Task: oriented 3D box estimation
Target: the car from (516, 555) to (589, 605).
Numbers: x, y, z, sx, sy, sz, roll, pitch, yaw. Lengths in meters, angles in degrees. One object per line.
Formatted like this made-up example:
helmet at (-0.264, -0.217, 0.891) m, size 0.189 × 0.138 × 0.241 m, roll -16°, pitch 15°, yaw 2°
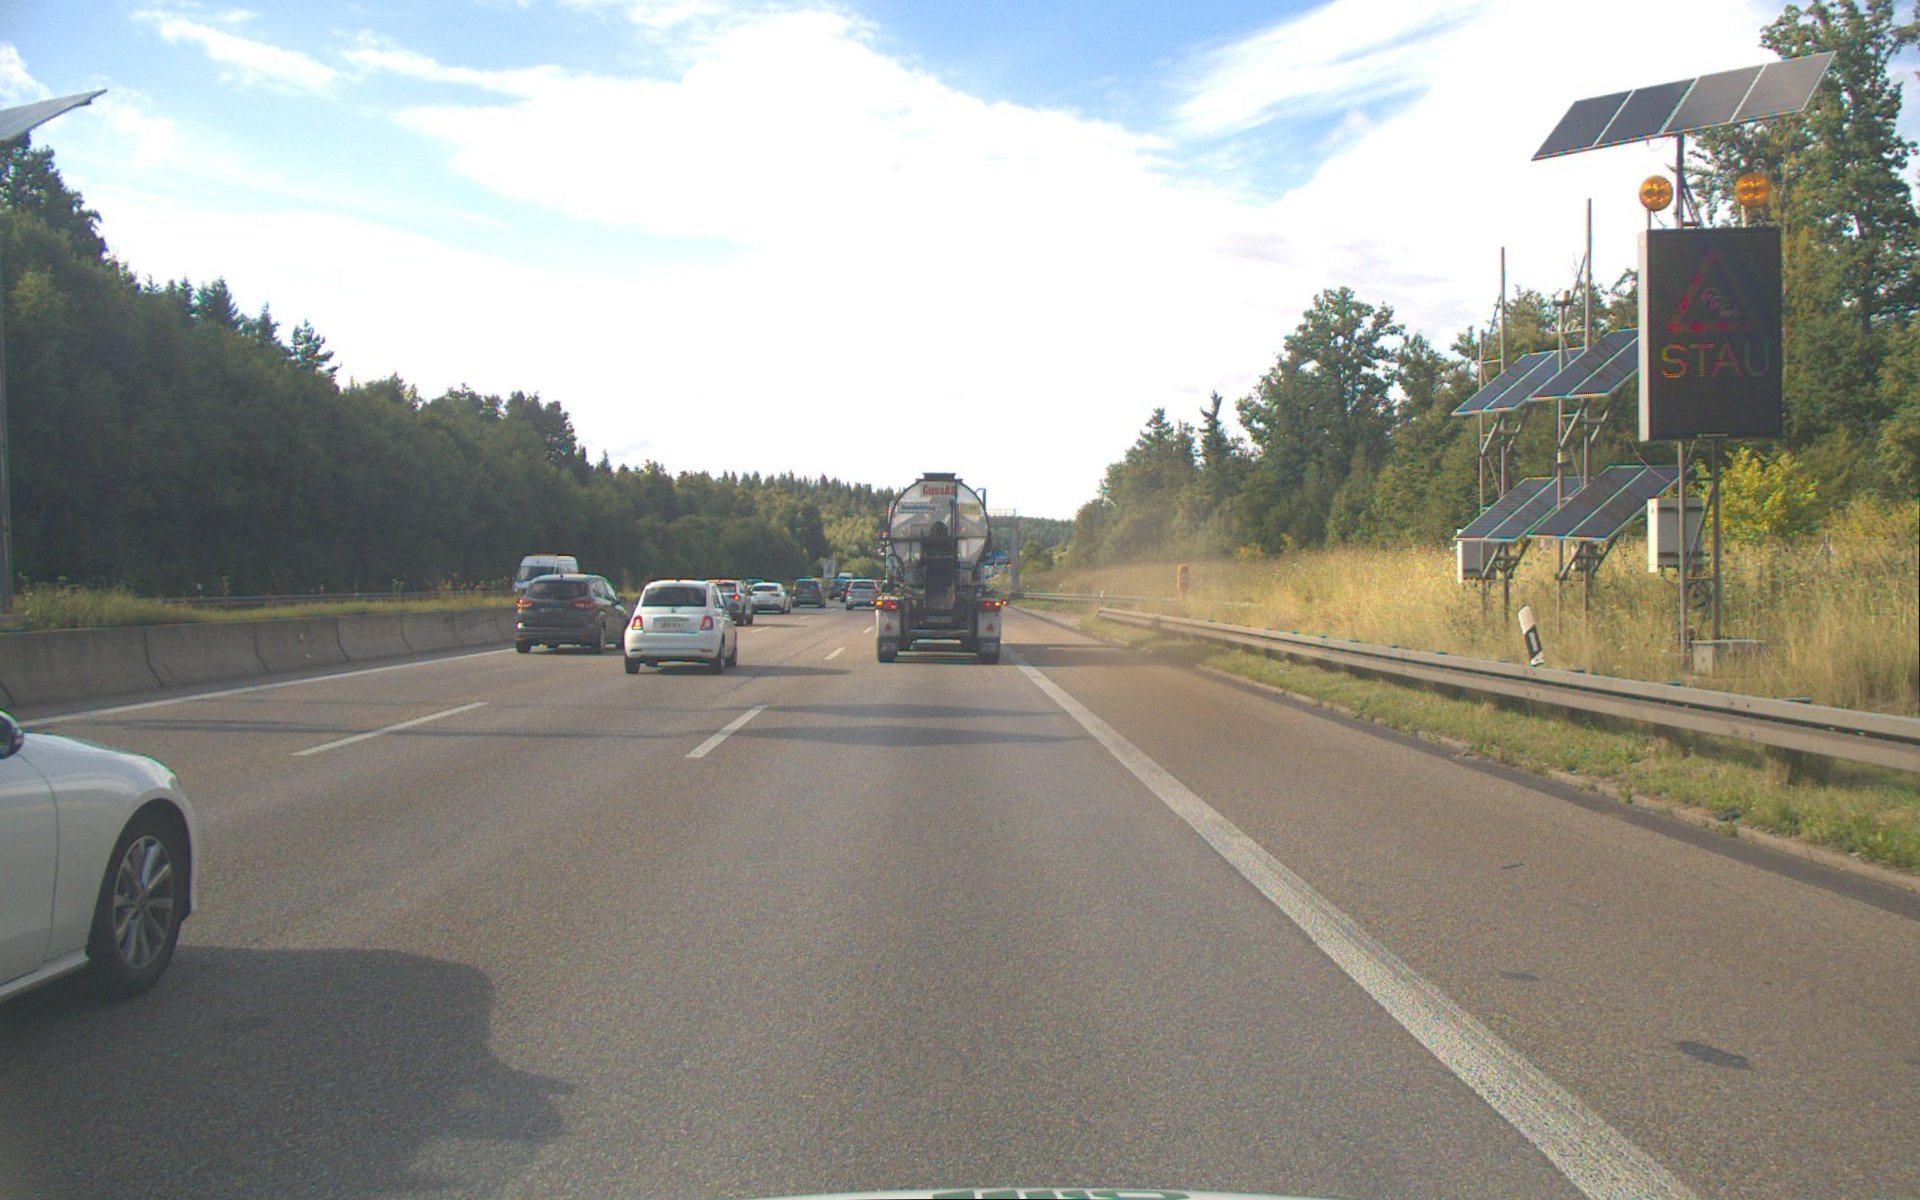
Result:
car at (-20.183, -0.983, 82.161) m, size 2.066 × 2.353 × 6.723 m, roll 0°, pitch 1°, yaw -1°

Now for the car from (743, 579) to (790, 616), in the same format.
car at (-8.983, -0.121, 76.983) m, size 1.770 × 1.613 × 4.206 m, roll 1°, pitch 1°, yaw -1°

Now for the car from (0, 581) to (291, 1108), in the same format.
car at (-3.773, 0.709, 4.019) m, size 2.018 × 1.525 × 5.735 m, roll 0°, pitch 0°, yaw -1°

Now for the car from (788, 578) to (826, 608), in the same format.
car at (-8.871, -0.424, 96.161) m, size 1.903 × 1.613 × 4.206 m, roll 1°, pitch 1°, yaw -1°

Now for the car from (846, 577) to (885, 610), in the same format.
car at (-5.109, -0.369, 89.667) m, size 1.903 × 1.683 × 4.206 m, roll 1°, pitch 1°, yaw -1°

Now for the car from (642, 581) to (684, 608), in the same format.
car at (-24.592, -0.471, 137.140) m, size 2.526 × 2.176 × 5.965 m, roll 0°, pitch 1°, yaw -1°

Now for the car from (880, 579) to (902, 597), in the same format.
car at (-6.186, -1.085, 148.659) m, size 1.903 × 1.482 × 4.206 m, roll 1°, pitch 1°, yaw -1°

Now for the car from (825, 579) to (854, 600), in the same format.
car at (-8.806, -0.776, 121.380) m, size 1.903 × 1.482 × 4.206 m, roll 1°, pitch 1°, yaw -1°

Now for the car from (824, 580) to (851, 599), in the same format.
car at (-10.010, -0.870, 135.297) m, size 1.903 × 1.482 × 4.206 m, roll 1°, pitch 1°, yaw -1°

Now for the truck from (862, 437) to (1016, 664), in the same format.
truck at (-0.443, -0.991, 36.668) m, size 2.853 × 4.230 × 11.268 m, roll 0°, pitch 1°, yaw -1°

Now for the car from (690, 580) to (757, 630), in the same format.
car at (-8.183, 0.155, 57.507) m, size 1.770 × 1.613 × 4.206 m, roll 1°, pitch 1°, yaw -1°

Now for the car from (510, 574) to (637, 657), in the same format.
car at (-8.131, 0.280, 35.108) m, size 1.770 × 1.613 × 4.206 m, roll 1°, pitch 1°, yaw -1°

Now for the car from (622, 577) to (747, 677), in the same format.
car at (-4.622, 0.422, 28.156) m, size 1.585 × 1.571 × 3.519 m, roll 1°, pitch 0°, yaw -1°
